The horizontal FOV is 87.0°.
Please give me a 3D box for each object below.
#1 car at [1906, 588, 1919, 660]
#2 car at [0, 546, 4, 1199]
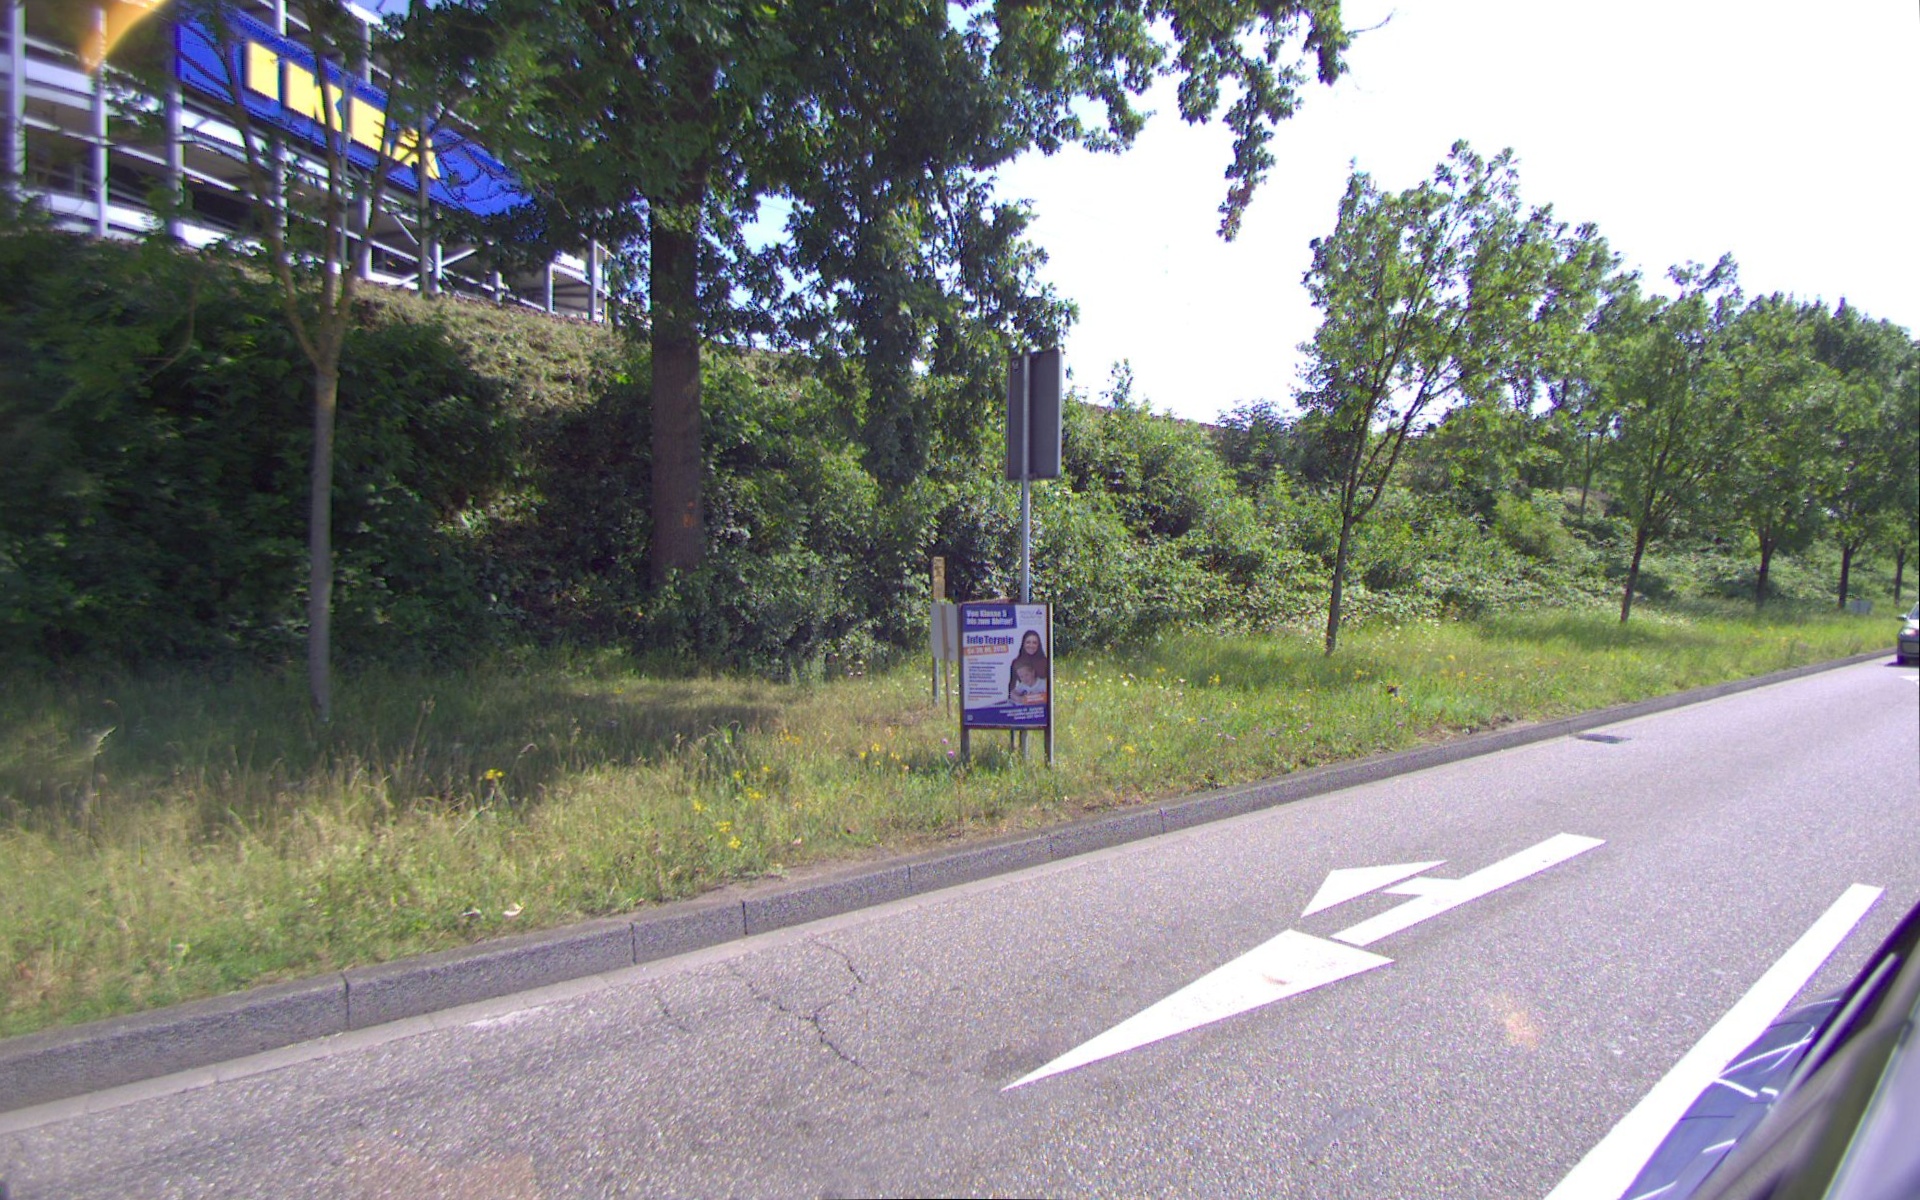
[{"bbox_3d":[21.382,0.478,21.512,3.618,1.455,1.702,-1,1,-44],"label":"car"},{"bbox_3d":[-3.131,0.635,0.335,3.964,1.471,1.678,0,0,-40],"label":"car"}]
